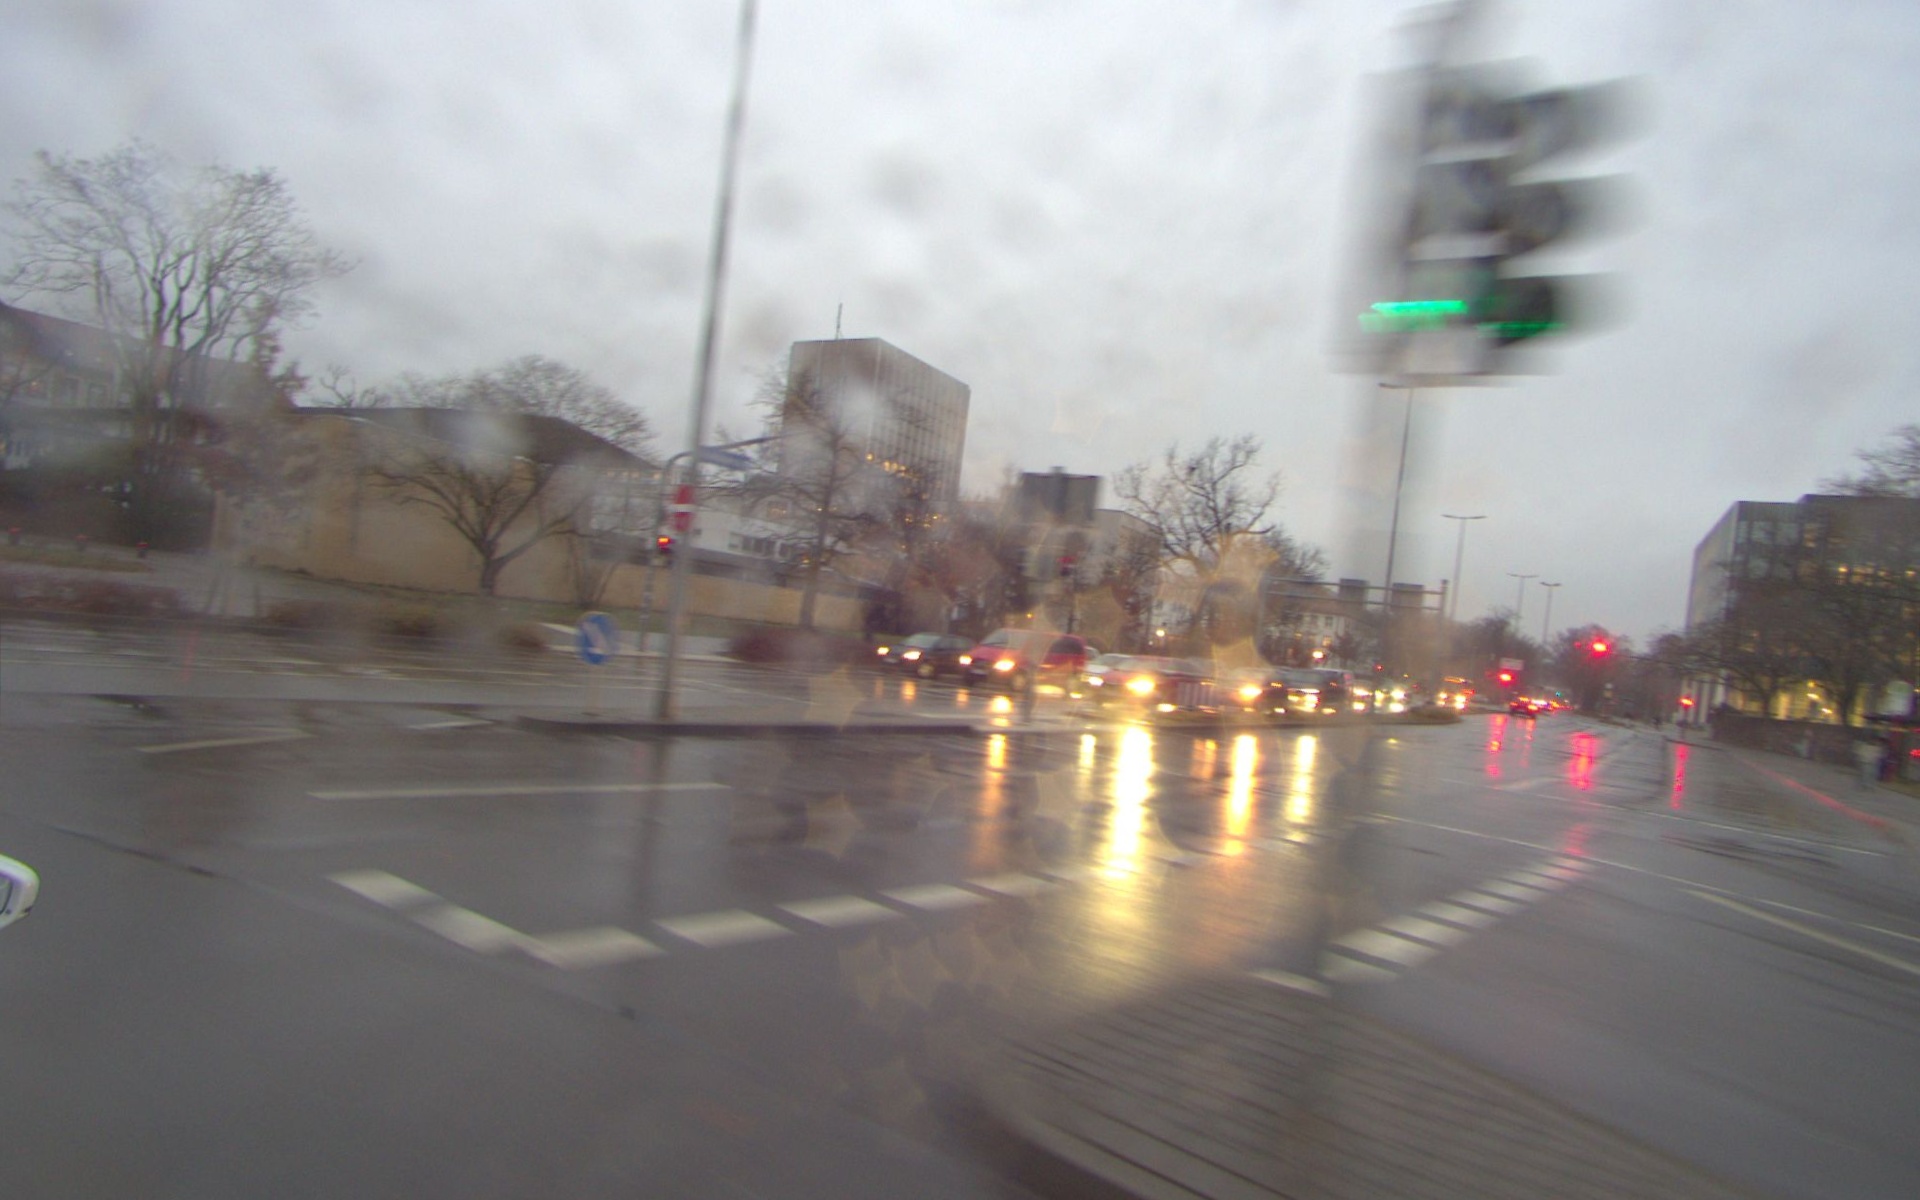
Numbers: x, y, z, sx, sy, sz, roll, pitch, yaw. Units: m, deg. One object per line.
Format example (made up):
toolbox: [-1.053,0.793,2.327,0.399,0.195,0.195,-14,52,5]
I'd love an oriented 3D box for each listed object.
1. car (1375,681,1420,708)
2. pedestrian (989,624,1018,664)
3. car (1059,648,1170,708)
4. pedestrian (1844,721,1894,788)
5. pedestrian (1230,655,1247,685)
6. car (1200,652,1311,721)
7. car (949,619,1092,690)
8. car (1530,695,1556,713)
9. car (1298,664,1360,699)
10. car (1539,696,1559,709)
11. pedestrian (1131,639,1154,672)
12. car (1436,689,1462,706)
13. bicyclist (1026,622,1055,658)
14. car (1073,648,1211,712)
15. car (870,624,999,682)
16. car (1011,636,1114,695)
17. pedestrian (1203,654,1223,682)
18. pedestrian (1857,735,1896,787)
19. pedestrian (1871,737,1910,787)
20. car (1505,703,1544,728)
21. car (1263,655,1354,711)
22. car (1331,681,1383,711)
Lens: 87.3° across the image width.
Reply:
car: [31.830,6.841,73.078,1.969,1.587,4.457,9,0,36]
pedestrian: [2.168,2.217,50.108,0.919,1.848,0.831,8,1,36]
car: [5.600,2.803,35.950,1.969,1.771,4.457,7,0,36]
pedestrian: [27.586,4.673,30.542,0.795,1.853,0.945,8,1,32]
pedestrian: [20.455,5.149,73.873,0.754,2.039,0.908,7,1,35]
car: [10.114,2.949,34.202,1.968,1.771,4.457,15,4,35]
car: [1.980,1.733,31.277,1.969,1.771,4.931,7,0,36]
car: [65.274,11.669,112.594,1.969,1.586,4.459,9,-1,36]
car: [21.262,4.713,57.863,1.969,1.587,4.747,9,0,36]
car: [89.107,15.507,152.222,1.969,1.586,4.458,9,-1,37]
pedestrian: [11.110,3.359,61.182,0.919,1.848,0.831,8,1,36]
car: [61.330,12.211,126.154,2.109,1.838,3.988,8,0,35]
bicyclist: [3.697,1.837,46.199,0.756,1.508,0.991,7,1,36]
car: [5.105,2.232,27.780,1.902,1.393,4.485,7,0,36]
car: [-0.743,1.751,32.643,1.747,1.504,4.457,7,0,36]
car: [3.984,2.531,38.649,1.970,1.860,3.987,7,-1,37]
pedestrian: [17.610,4.725,69.947,0.919,1.848,0.831,8,1,36]
pedestrian: [36.453,6.392,40.019,0.795,1.853,0.945,8,1,32]
pedestrian: [37.622,6.535,40.694,0.795,1.853,0.945,8,1,32]
car: [44.881,9.164,79.908,1.969,1.586,4.458,9,0,37]
car: [13.557,3.246,38.965,1.969,1.771,4.457,8,0,36]
car: [26.091,6.275,65.996,1.969,1.587,4.457,9,0,36]
